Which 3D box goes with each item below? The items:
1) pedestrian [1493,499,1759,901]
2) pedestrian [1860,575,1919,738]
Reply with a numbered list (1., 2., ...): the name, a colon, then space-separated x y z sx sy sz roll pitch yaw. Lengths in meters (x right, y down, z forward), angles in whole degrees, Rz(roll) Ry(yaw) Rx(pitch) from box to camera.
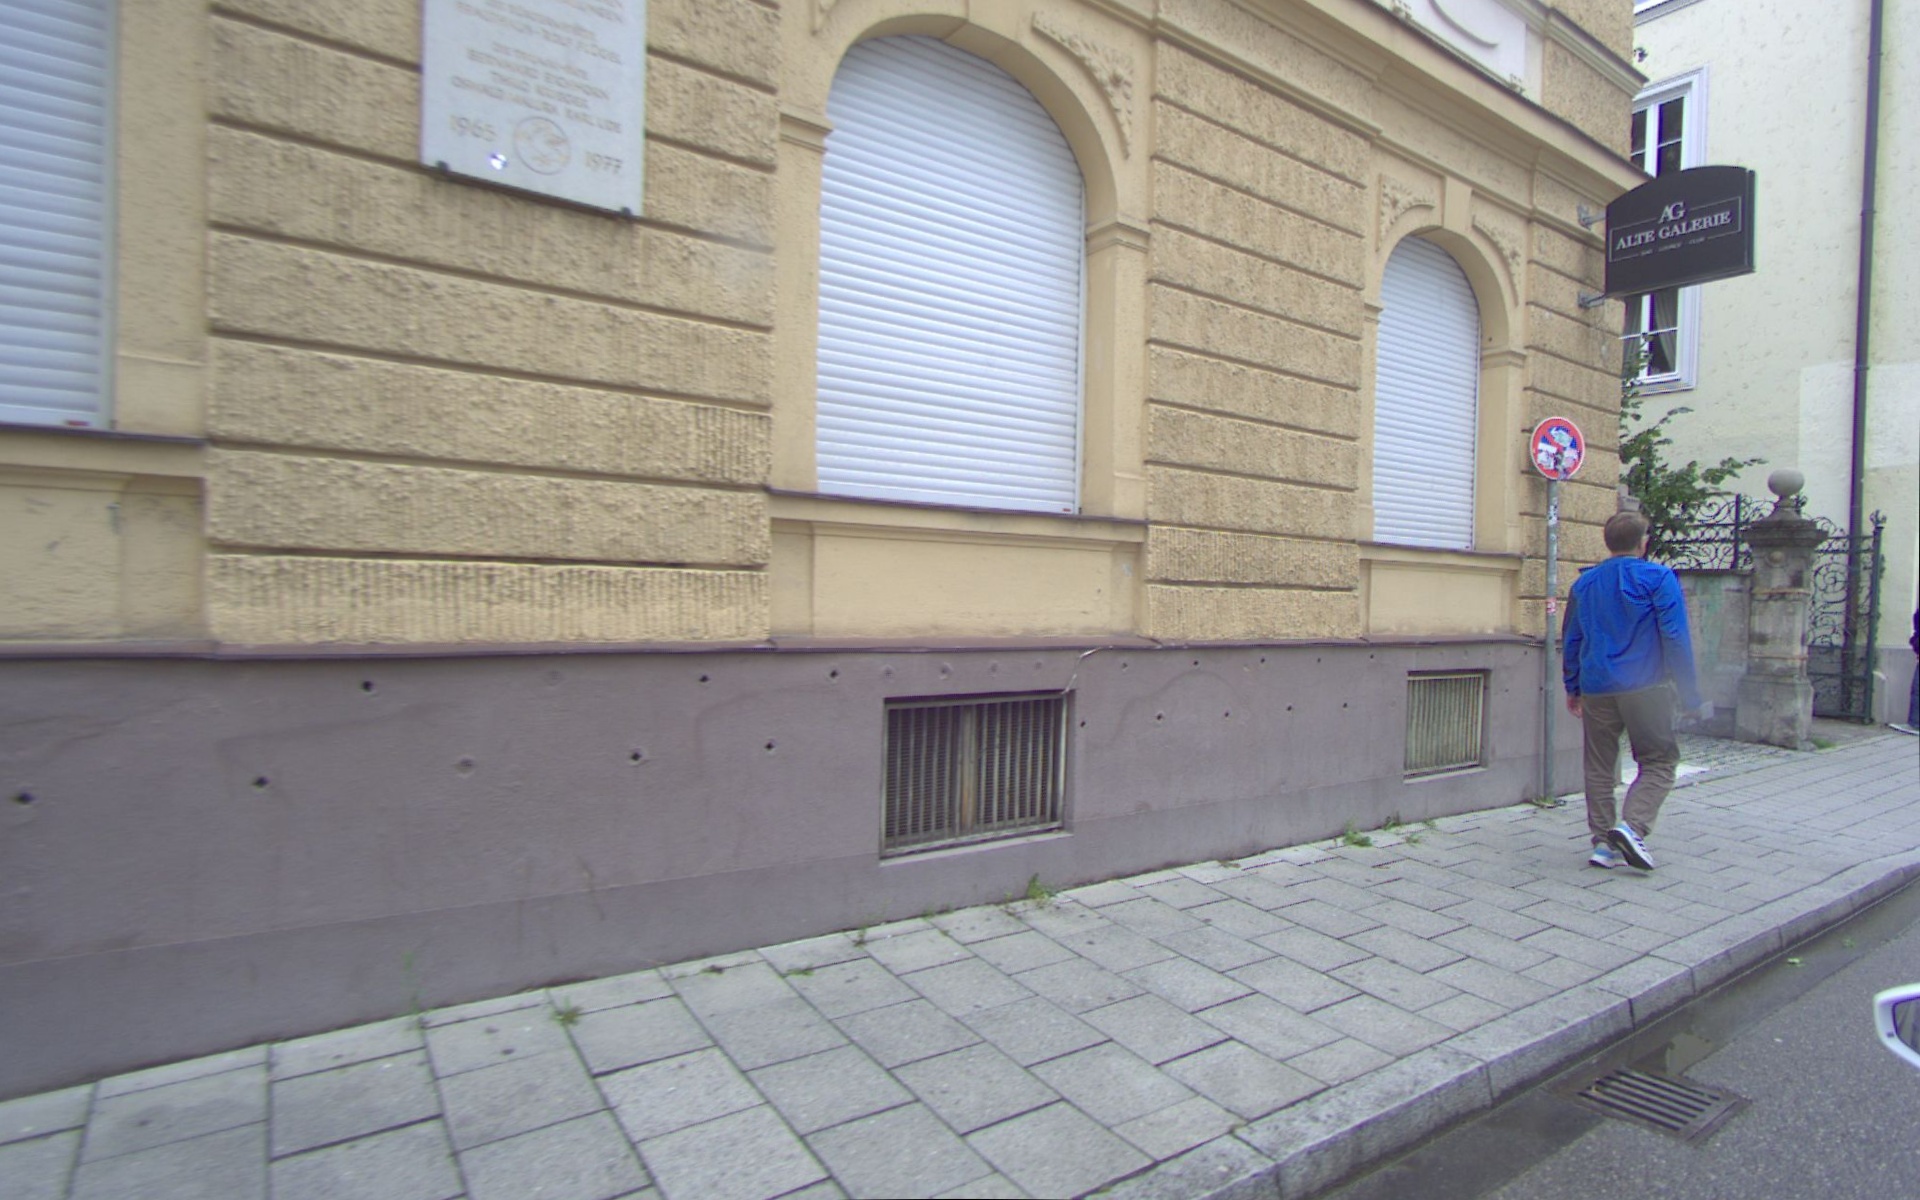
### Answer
1. pedestrian: 3.507 0.463 5.296 1.066 1.879 0.752 1 2 -35
2. pedestrian: 11.324 0.654 11.694 0.943 1.852 0.903 1 1 -24
